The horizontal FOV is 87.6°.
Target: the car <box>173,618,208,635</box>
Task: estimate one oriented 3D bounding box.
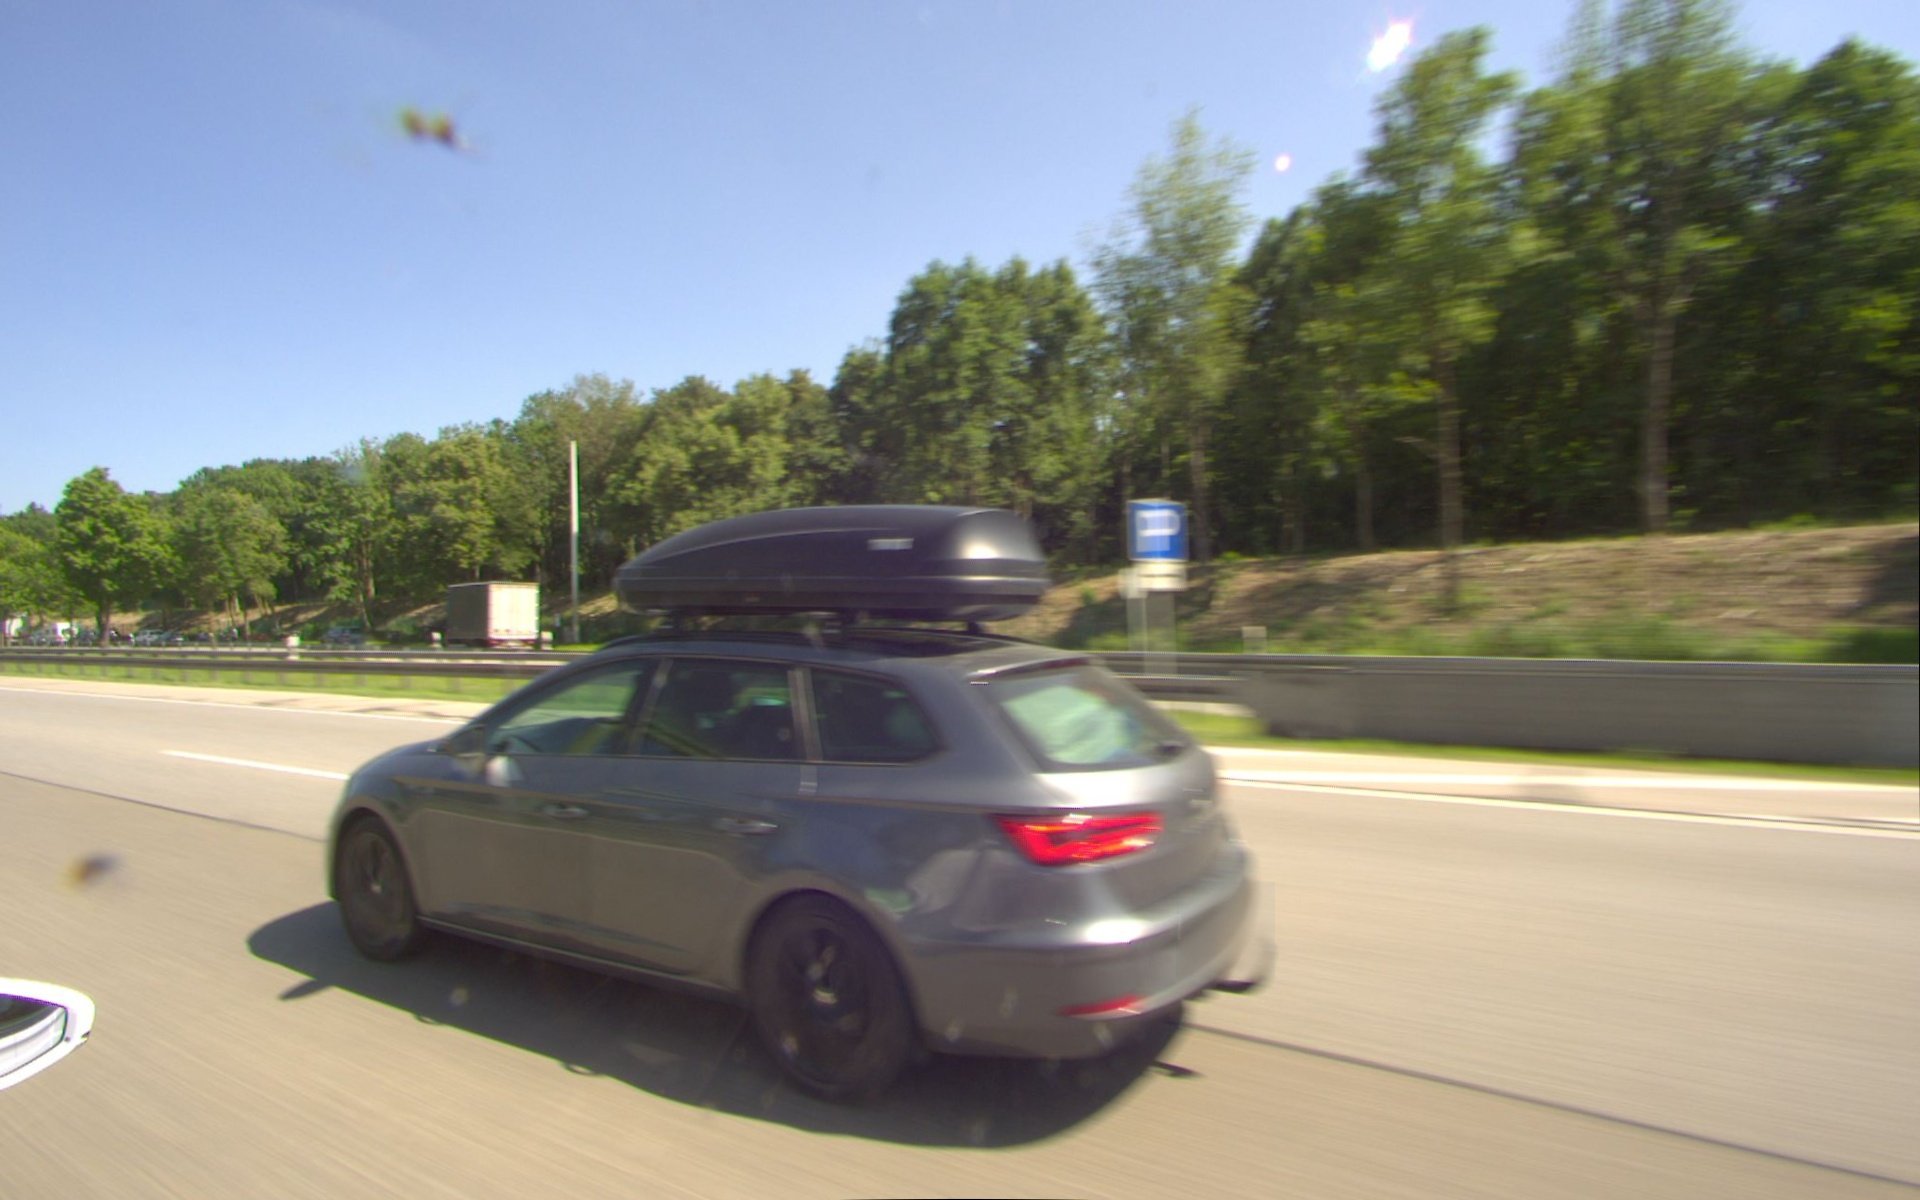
[{"bbox_3d":[-74.375,2.541,96.764,3.954,1.594,1.984,-1,-1,41],"label":"car"}]

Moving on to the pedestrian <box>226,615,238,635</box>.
[{"bbox_3d":[-64.671,2.221,88.980,0.793,1.806,0.636,-1,1,-45],"label":"pedestrian"}]

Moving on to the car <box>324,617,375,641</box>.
[{"bbox_3d":[-44.655,2.104,73.213,4.269,1.673,1.983,-1,0,41],"label":"car"}]

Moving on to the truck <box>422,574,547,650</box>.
[{"bbox_3d":[-27.199,0.679,57.028,9.250,3.999,3.266,-1,0,43],"label":"truck"}]

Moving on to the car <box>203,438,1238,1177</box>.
[{"bbox_3d":[-1.347,0.552,4.526,4.757,1.901,1.662,-1,1,32],"label":"car"}]

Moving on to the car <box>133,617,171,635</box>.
[{"bbox_3d":[-80.255,2.572,99.487,4.587,1.697,1.652,-1,-1,34],"label":"car"}]

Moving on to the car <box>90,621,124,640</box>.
[{"bbox_3d":[-88.708,3.138,104.156,4.738,1.901,1.650,-1,-1,37],"label":"car"}]

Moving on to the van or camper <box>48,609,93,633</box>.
[{"bbox_3d":[-99.077,2.347,111.495,5.792,2.564,2.199,-1,-1,32],"label":"van or camper"}]

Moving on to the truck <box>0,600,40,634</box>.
[{"bbox_3d":[-117.073,2.171,121.768,14.234,3.982,2.994,-1,-1,28],"label":"truck"}]
